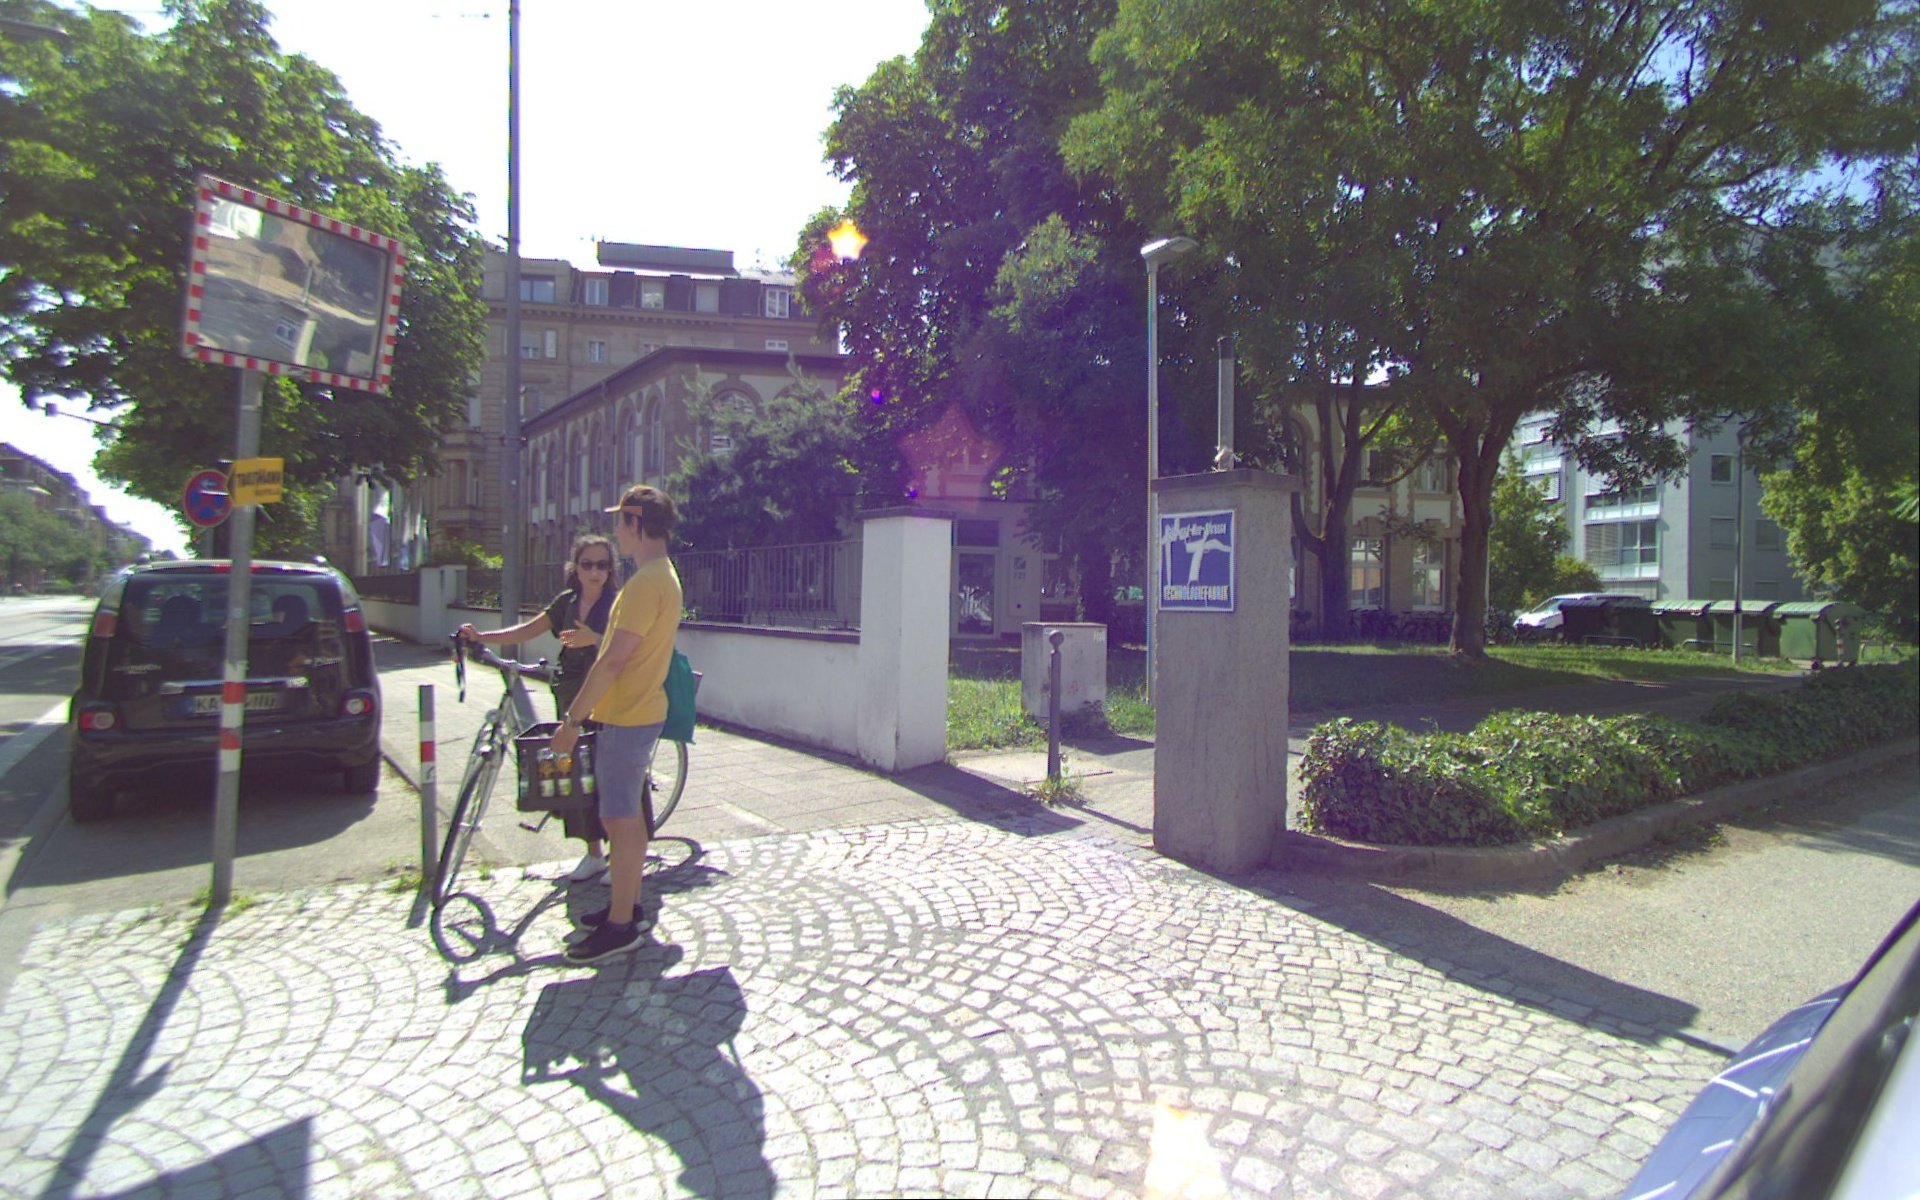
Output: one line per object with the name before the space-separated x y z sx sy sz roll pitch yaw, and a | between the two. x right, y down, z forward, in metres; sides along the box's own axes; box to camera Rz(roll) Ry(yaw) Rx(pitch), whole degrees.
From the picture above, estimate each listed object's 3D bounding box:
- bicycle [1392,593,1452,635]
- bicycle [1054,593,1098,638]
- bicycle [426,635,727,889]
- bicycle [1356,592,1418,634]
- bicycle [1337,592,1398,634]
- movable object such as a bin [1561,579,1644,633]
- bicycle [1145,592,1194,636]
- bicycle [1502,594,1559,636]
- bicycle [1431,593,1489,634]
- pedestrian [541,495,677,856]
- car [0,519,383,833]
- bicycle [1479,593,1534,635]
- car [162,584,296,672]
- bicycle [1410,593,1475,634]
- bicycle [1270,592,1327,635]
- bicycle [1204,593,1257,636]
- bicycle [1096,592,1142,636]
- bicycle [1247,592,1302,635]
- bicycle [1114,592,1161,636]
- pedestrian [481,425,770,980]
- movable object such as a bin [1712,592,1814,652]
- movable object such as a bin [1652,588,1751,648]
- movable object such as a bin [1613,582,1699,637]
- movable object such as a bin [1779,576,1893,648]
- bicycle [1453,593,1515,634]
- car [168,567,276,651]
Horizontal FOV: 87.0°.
bicycle | 13.488 0.396 29.610 0.576 1.176 1.925 0 0 -11
bicycle | 3.123 0.391 27.423 0.576 1.176 2.106 0 0 -11
bicycle | -1.877 0.733 5.152 0.361 1.054 1.493 0 0 35
bicycle | 12.415 0.350 29.517 0.576 1.176 2.106 0 0 -11
bicycle | 11.781 0.357 29.340 0.576 1.176 2.106 0 0 -11
movable object such as a bin | 17.405 0.145 27.451 1.224 1.427 1.439 0 0 -15
bicycle | 5.868 0.376 28.452 0.576 1.176 2.106 0 0 -11
bicycle | 16.839 0.420 29.940 0.546 1.176 1.945 0 0 -1
bicycle | 14.750 0.378 29.901 0.484 1.176 1.917 0 0 -11
pedestrian | -1.701 0.341 4.916 0.419 1.642 0.448 1 0 35
car | -5.627 0.390 7.680 1.821 1.705 4.000 0 1 -35
bicycle | 16.222 0.399 30.075 0.497 1.176 1.807 0 0 -7
car | -13.475 0.428 18.612 1.823 1.429 3.997 0 1 -38
bicycle | 14.195 0.373 29.817 0.576 1.176 2.106 0 0 -11
bicycle | 9.700 0.357 29.090 0.576 1.176 2.106 0 0 -11
bicycle | 7.642 0.385 28.703 0.576 1.176 2.106 0 0 -11
bicycle | 4.384 0.373 28.109 0.576 1.176 2.106 0 0 -11
bicycle | 8.961 0.370 28.913 0.576 1.176 2.106 0 0 -11
bicycle | 4.959 0.375 28.345 0.576 1.176 2.106 0 0 -11
pedestrian | -1.339 0.343 4.035 0.839 1.888 0.828 0 0 -41
movable object such as a bin | 18.231 0.477 23.008 1.190 1.317 1.358 0 0 -14
movable object such as a bin | 17.860 0.411 24.415 1.190 1.379 1.505 0 0 -14
movable object such as a bin | 17.810 0.233 25.926 1.190 1.366 1.355 0 0 -14
movable object such as a bin | 18.548 0.237 21.470 1.192 1.481 1.392 0 0 1
bicycle | 15.570 0.392 30.109 0.600 1.176 1.854 0 0 -11
car | -16.631 0.155 22.770 1.823 1.701 3.997 0 1 -38
